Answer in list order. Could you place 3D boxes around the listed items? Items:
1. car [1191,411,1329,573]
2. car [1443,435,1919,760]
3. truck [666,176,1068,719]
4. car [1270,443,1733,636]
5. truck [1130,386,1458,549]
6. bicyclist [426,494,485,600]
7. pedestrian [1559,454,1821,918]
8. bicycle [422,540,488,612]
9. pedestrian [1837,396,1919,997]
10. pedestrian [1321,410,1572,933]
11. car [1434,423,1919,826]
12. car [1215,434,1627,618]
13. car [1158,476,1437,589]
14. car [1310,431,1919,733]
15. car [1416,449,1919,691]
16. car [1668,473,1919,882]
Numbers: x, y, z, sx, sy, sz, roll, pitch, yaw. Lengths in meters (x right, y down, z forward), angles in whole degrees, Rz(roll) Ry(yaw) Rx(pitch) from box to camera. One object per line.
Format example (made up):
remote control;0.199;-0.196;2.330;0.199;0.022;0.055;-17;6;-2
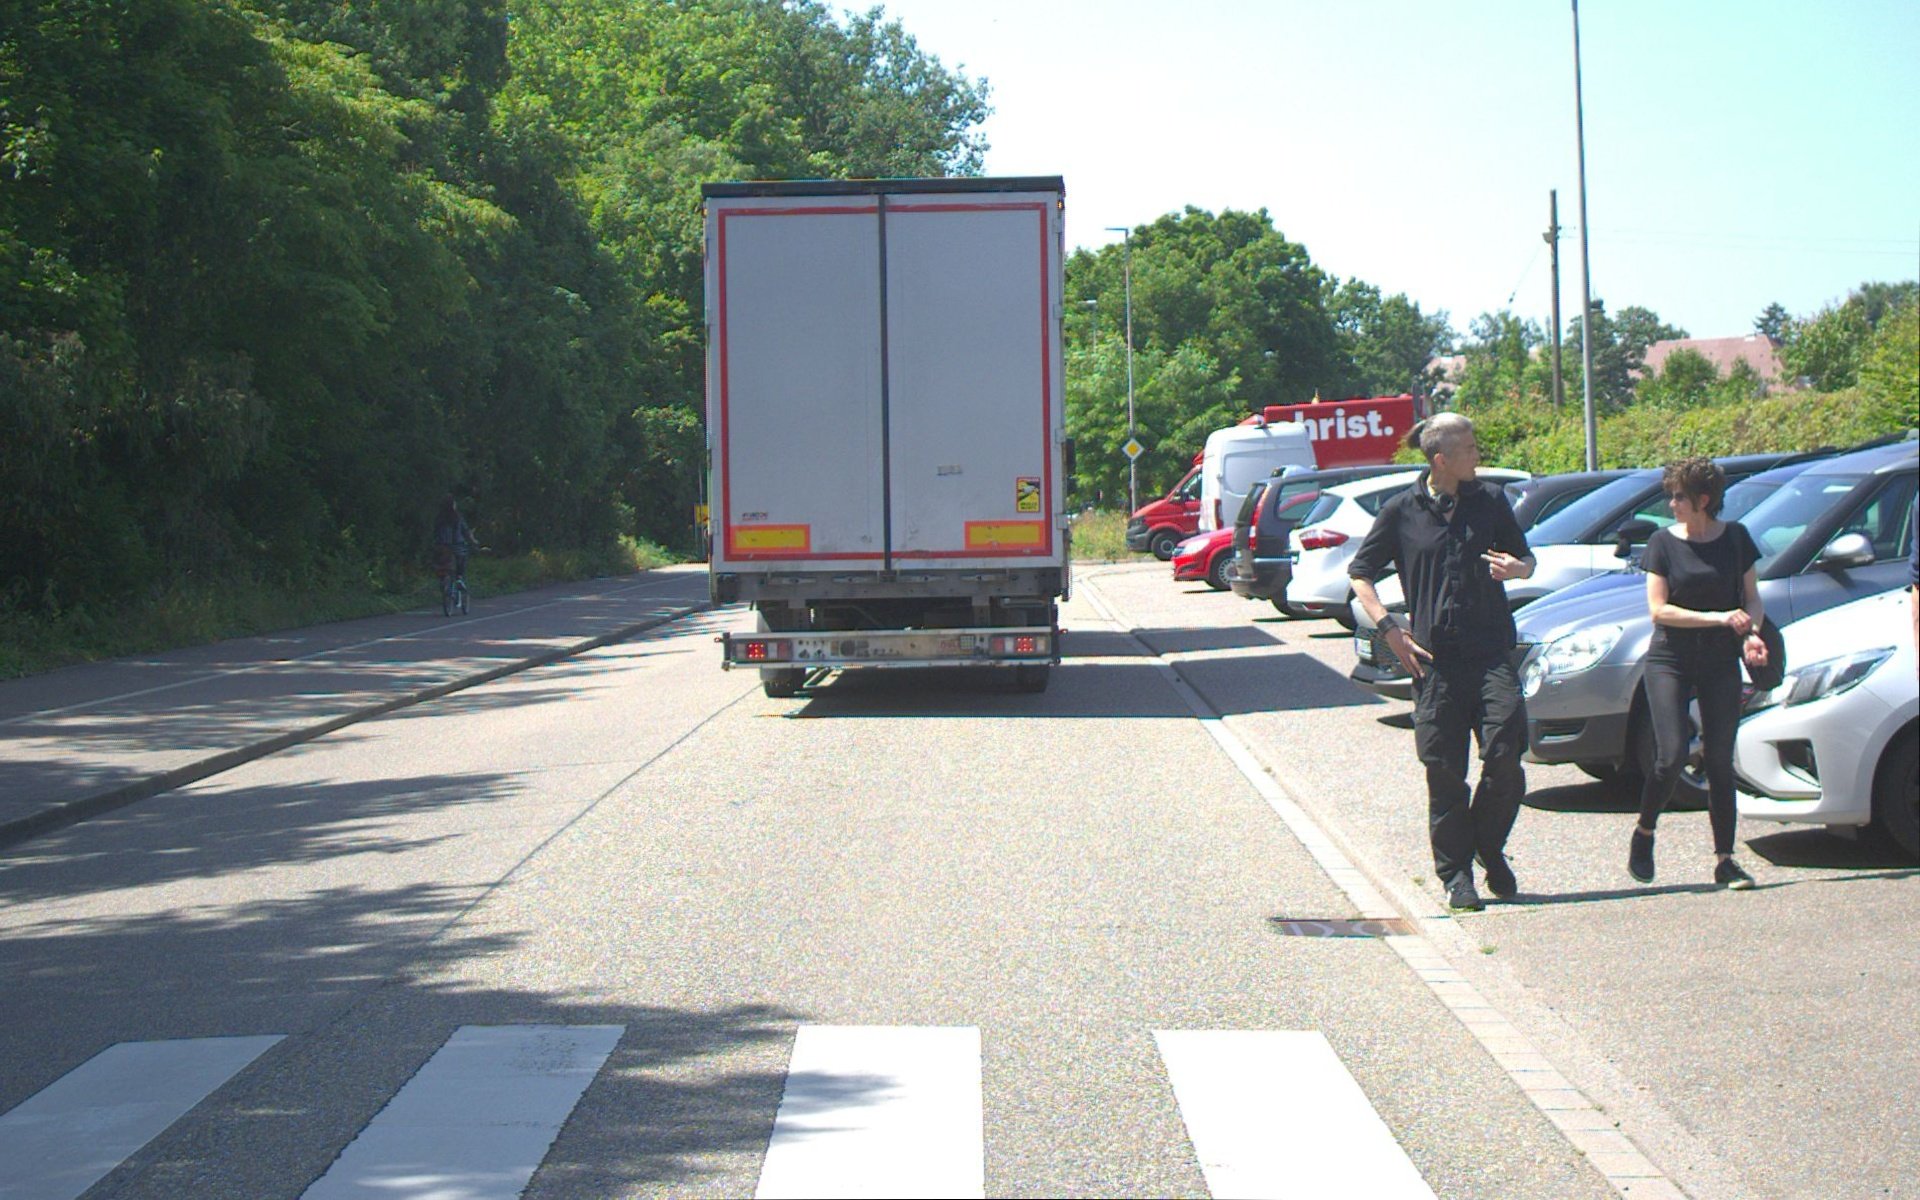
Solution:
car;5.557;-2.049;64.442;1.954;2.724;7.167;-4;2;2
car;4.670;-0.084;19.501;3.452;1.522;1.540;-6;2;-4
truck;-0.501;-1.252;30.627;2.733;3.733;13.246;-1;2;1
car;5.428;-0.623;34.803;4.276;1.572;1.766;-5;2;-1
truck;7.630;-3.016;78.392;7.140;3.428;2.329;-2;2;12
bicyclist;-7.625;-0.807;52.008;0.648;1.559;0.837;-2;2;5
pedestrian;2.687;0.296;12.736;0.778;1.605;0.896;-4;3;7
bicycle;-7.621;-0.371;51.941;0.561;1.023;1.839;-2;2;5
pedestrian;3.289;0.227;10.482;1.020;1.745;1.158;-4;1;12
pedestrian;1.829;0.237;13.008;0.781;1.858;1.086;-4;3;7
car;4.487;-0.007;16.578;3.960;1.634;1.664;-6;2;-5
car;5.451;-0.883;41.011;4.452;1.798;1.953;-5;1;-3
car;5.267;-1.076;53.938;4.053;1.429;1.836;-5;2;-2
car;4.472;-0.158;22.371;3.962;1.517;1.865;-6;2;-5
car;5.165;-0.242;25.358;3.388;1.498;1.588;-4;2;4
car;4.856;0.144;13.710;3.690;1.445;1.610;-5;2;4
